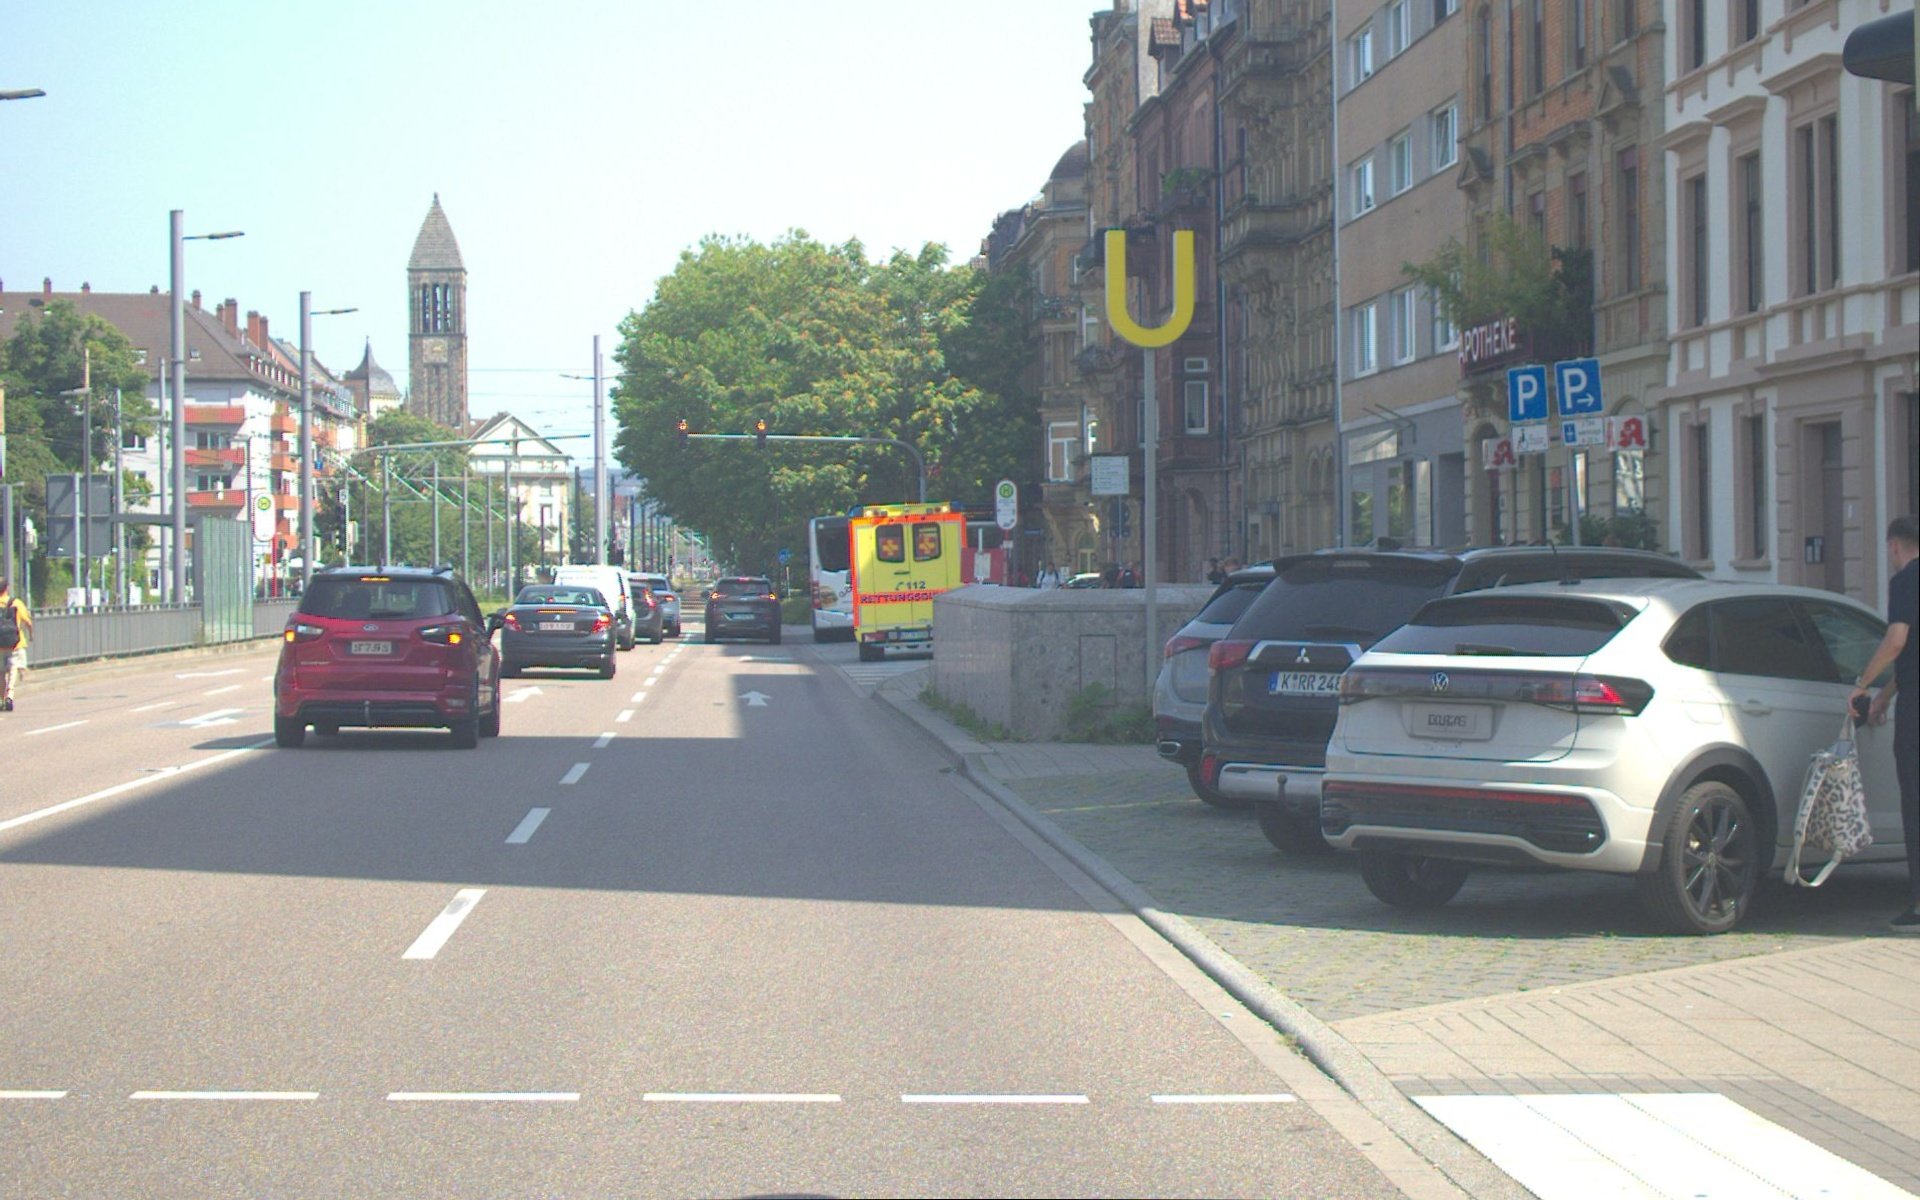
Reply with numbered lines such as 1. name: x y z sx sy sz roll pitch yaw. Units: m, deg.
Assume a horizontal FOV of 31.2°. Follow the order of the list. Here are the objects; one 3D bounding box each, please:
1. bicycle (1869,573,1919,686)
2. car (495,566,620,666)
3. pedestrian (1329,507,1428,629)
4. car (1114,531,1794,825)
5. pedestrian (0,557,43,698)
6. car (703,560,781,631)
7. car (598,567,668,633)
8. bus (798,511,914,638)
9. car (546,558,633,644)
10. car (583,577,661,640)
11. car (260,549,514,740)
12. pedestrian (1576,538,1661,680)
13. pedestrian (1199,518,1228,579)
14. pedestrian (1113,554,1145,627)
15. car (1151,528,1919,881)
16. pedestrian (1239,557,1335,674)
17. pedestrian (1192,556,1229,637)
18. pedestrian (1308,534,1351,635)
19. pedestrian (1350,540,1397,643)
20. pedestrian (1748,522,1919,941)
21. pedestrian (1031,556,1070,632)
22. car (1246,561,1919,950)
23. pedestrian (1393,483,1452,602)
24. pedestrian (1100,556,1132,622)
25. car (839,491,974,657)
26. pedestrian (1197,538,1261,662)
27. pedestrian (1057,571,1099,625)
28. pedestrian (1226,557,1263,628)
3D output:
1. bicycle: 10.532 0.324 37.536 0.480 1.142 2.471 -1 3 -2
2. car: -6.080 0.213 52.269 1.790 1.426 4.001 -1 1 -5
3. pedestrian: 5.505 -0.415 45.239 0.850 1.576 0.971 -1 0 -37
4. car: 3.333 0.422 22.556 2.042 1.708 4.653 0 1 45
5. pedestrian: -12.023 0.343 43.237 0.761 1.746 1.069 -1 0 -5
6. car: -5.314 -0.101 83.585 1.790 1.672 4.000 0 0 -5
7. car: -8.550 0.007 90.101 1.790 1.692 4.000 0 0 -5
8. bus: -2.772 -0.659 88.479 2.533 3.021 12.437 -1 0 -4
9. car: -7.942 0.029 73.948 1.790 1.774 4.000 0 0 -5
10. car: -8.028 0.212 81.917 1.790 1.467 4.000 0 0 -5
11. car: -5.168 0.358 31.478 1.762 1.612 4.083 -1 1 -2
12. pedestrian: 8.748 0.116 45.677 0.840 1.840 0.686 -2 1 -13
13. pedestrian: 6.756 -1.370 91.622 0.622 1.588 0.696 -1 0 -9
14. pedestrian: 3.868 -0.229 78.770 0.696 1.661 0.603 0 0 -2
15. car: 3.250 0.468 18.742 1.985 1.682 4.381 0 1 45
16. pedestrian: 4.475 0.214 47.065 0.850 1.576 0.971 -1 0 -37
17. pedestrian: 5.263 -0.079 72.277 0.643 1.679 0.789 -1 0 -4
18. pedestrian: 6.554 -0.275 60.969 0.577 1.744 0.679 -3 0 -4
19. pedestrian: 7.327 -0.157 60.975 0.599 1.789 0.880 -3 0 -4
20. pedestrian: 4.052 0.530 14.561 1.034 1.698 0.904 1 0 -30
21. pedestrian: 1.993 -0.127 75.750 0.697 1.661 0.602 0 0 22
22. car: 3.250 0.627 15.541 3.775 1.495 1.806 1 1 -43
23. pedestrian: 7.012 -0.877 52.103 0.684 1.768 1.018 -1 1 -4
24. pedestrian: 3.906 -0.277 86.113 0.696 1.661 1.064 0 0 -2
25. car: -0.949 -0.506 63.780 2.299 2.878 5.599 -2 1 0
26. pedestrian: 3.881 -0.012 49.599 0.850 1.723 0.971 -2 3 3
27. pedestrian: 3.949 -0.077 115.136 1.249 1.746 1.526 -1 2 -3
28. pedestrian: 5.986 -0.154 72.322 0.643 1.488 0.789 -1 0 -4
